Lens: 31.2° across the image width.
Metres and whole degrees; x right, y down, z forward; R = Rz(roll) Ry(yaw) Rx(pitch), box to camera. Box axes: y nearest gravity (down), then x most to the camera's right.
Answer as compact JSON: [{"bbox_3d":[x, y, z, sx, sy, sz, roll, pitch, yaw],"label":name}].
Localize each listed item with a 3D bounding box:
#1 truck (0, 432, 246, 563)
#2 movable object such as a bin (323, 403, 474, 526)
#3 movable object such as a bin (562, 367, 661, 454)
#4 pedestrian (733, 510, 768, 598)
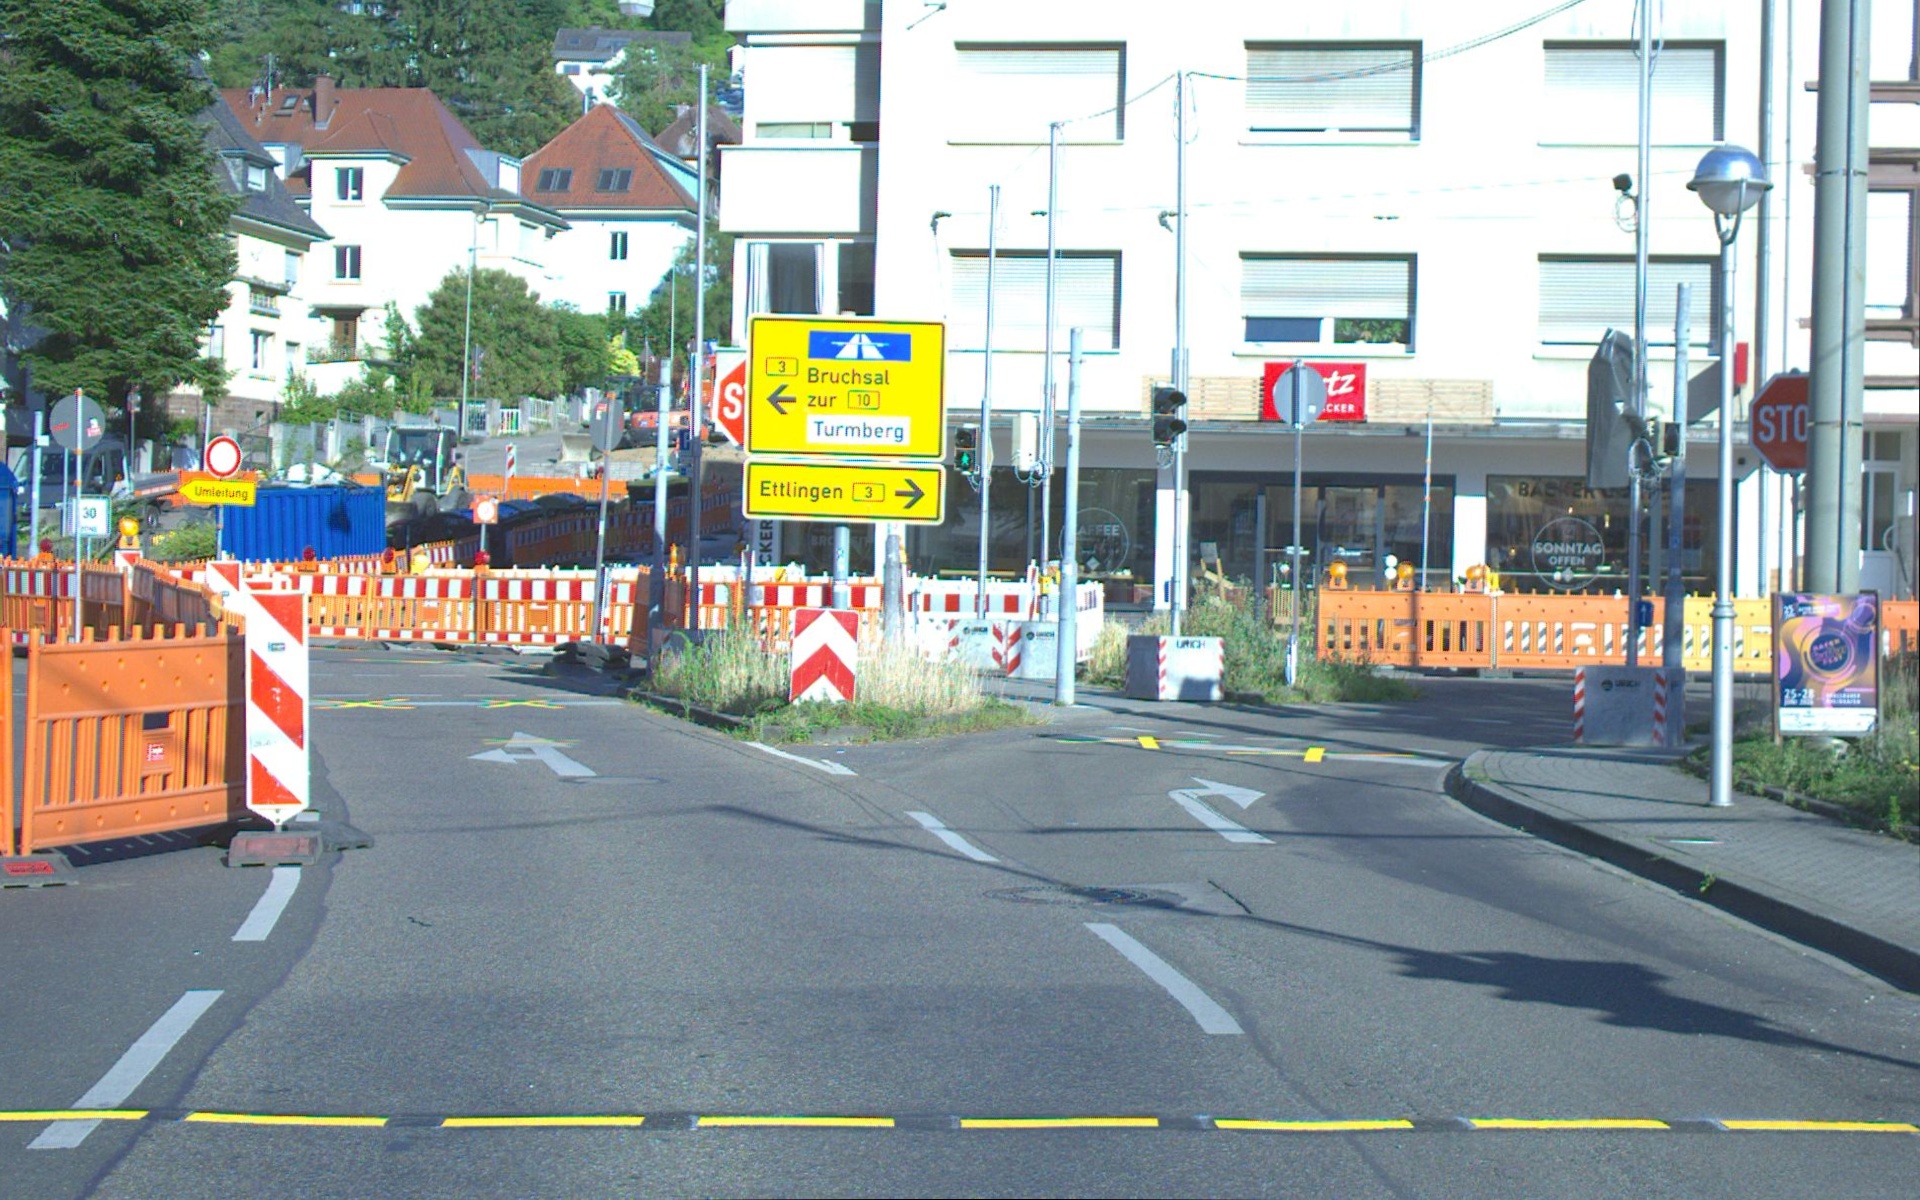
[{"bbox_3d":[-17.184,-1.984,68.659,2.357,2.407,9.147,1,1,11],"label":"truck"},{"bbox_3d":[-12.904,-3.086,79.198,2.191,2.681,3.998,1,1,10],"label":"movable object such as a bin"},{"bbox_3d":[-11.496,-6.251,113.750,2.191,2.681,3.998,1,1,10],"label":"movable object such as a bin"},{"bbox_3d":[-4.197,-0.923,68.865,0.640,1.754,0.718,1,1,-1],"label":"pedestrian"}]
